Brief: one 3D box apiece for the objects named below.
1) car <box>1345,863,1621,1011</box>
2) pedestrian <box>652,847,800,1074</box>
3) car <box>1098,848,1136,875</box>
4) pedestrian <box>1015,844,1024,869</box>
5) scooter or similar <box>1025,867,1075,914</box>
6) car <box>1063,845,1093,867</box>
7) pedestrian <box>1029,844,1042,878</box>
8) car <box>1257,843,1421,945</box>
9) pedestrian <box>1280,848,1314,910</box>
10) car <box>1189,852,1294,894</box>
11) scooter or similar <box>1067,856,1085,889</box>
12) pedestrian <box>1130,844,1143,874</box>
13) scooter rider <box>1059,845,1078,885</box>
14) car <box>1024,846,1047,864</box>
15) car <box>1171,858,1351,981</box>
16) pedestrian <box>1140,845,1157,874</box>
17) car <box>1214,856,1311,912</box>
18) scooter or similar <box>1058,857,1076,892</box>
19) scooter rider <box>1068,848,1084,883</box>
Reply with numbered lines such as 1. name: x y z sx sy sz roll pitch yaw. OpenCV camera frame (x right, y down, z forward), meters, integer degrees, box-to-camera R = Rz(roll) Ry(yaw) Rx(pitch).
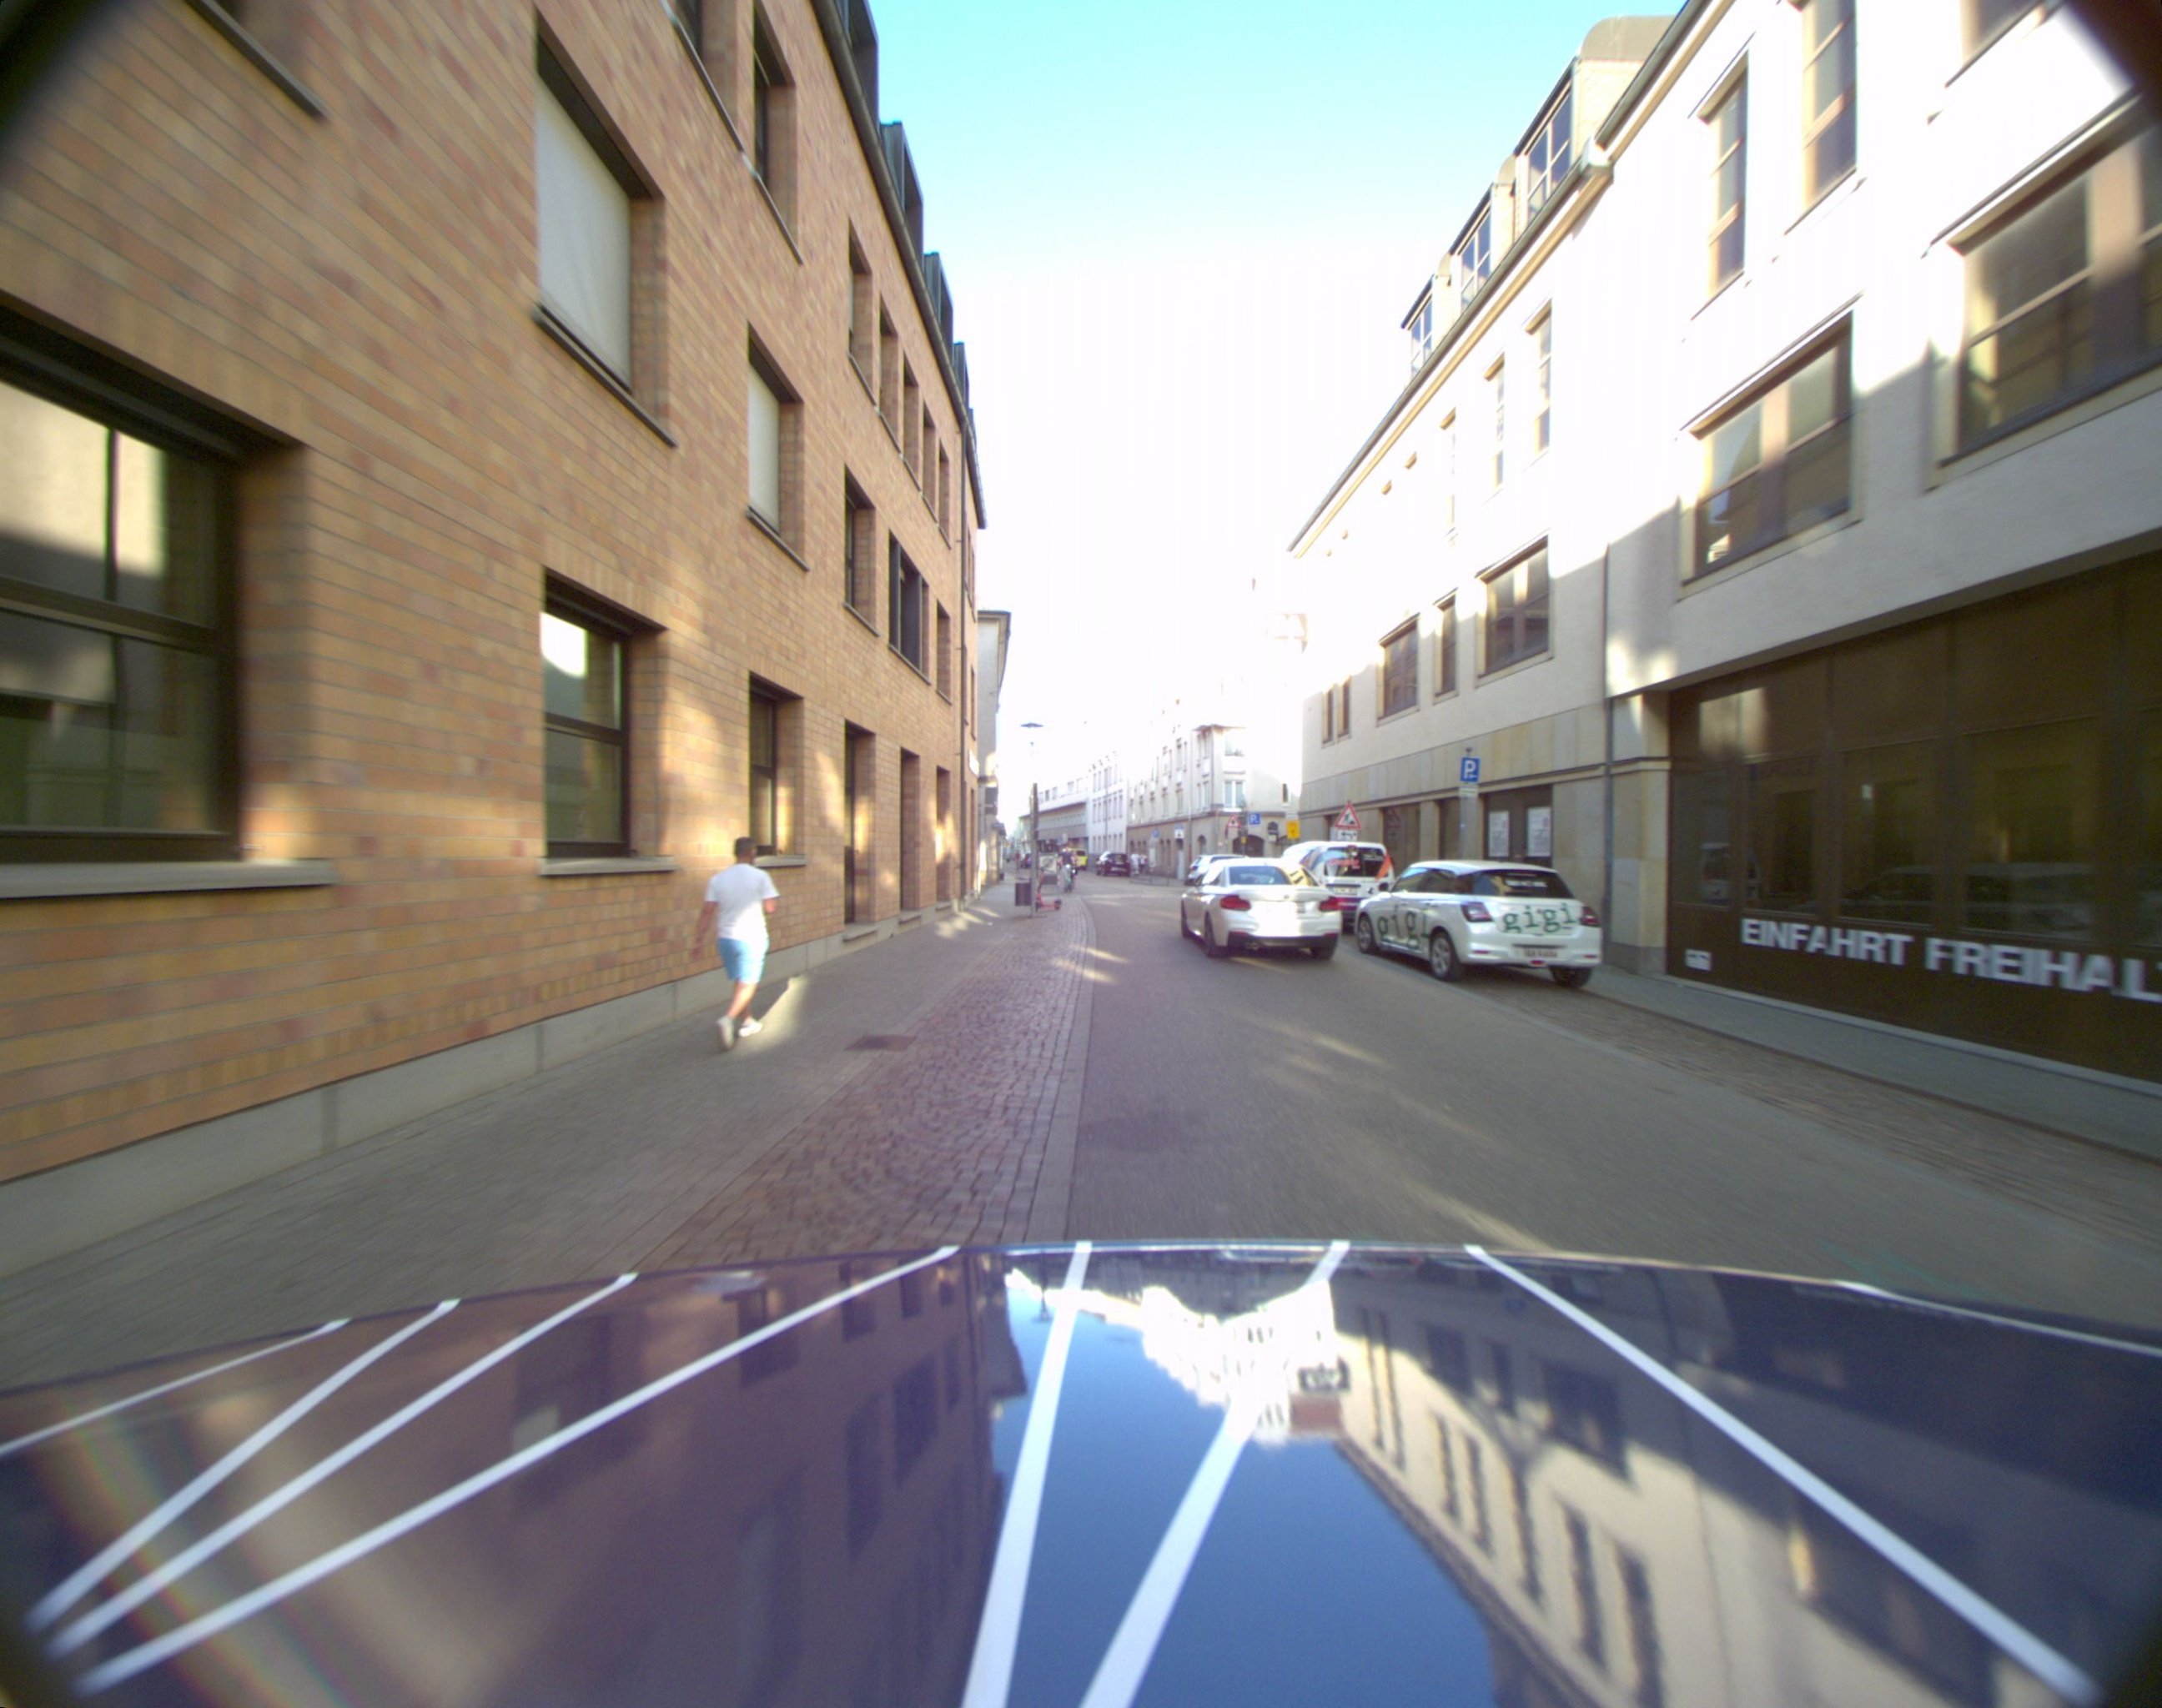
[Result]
1. car: 5.140 0.947 10.358 1.674 1.513 3.775 3 0 0
2. pedestrian: -2.866 0.814 6.219 0.762 1.706 0.821 2 1 2
3. car: 2.457 0.485 52.525 1.889 1.694 3.997 3 0 -7
4. pedestrian: -4.959 0.226 61.247 0.716 2.002 0.698 0 1 -9
5. scooter or similar: -0.849 0.983 20.983 0.537 1.228 1.422 0 0 40
6. car: -0.313 0.140 68.293 1.890 1.863 3.995 1 1 -12
7. pedestrian: -2.731 0.407 45.737 0.716 2.002 0.698 0 1 -9
8. car: 5.382 0.741 16.596 1.904 1.847 4.733 2 0 0
9. pedestrian: 6.596 0.744 23.240 0.716 1.844 0.861 2 2 -2
10. car: 6.411 0.736 30.530 3.993 1.537 1.765 1 1 11
11. scooter or similar: -0.224 0.782 33.330 0.550 1.388 1.554 0 1 -8
12. pedestrian: 3.749 0.358 51.334 0.716 2.002 0.698 0 1 -9
13. scooter rider: -0.489 0.441 30.649 0.648 1.585 0.599 -2 2 -9
14. car: -4.270 0.100 70.976 1.857 1.583 3.804 1 -1 -8
15. car: 2.548 0.848 11.803 1.719 1.509 4.159 1 0 -1
16. pedestrian: 4.583 0.367 51.648 0.938 2.002 0.698 0 1 -10
17. car: 5.349 0.833 22.906 1.742 1.483 3.798 2 0 -4
18. scooter or similar: -0.574 0.816 30.742 0.524 1.388 1.554 0 1 -8
19. scooter rider: -0.231 0.513 33.494 0.592 1.500 0.599 -2 2 -9
